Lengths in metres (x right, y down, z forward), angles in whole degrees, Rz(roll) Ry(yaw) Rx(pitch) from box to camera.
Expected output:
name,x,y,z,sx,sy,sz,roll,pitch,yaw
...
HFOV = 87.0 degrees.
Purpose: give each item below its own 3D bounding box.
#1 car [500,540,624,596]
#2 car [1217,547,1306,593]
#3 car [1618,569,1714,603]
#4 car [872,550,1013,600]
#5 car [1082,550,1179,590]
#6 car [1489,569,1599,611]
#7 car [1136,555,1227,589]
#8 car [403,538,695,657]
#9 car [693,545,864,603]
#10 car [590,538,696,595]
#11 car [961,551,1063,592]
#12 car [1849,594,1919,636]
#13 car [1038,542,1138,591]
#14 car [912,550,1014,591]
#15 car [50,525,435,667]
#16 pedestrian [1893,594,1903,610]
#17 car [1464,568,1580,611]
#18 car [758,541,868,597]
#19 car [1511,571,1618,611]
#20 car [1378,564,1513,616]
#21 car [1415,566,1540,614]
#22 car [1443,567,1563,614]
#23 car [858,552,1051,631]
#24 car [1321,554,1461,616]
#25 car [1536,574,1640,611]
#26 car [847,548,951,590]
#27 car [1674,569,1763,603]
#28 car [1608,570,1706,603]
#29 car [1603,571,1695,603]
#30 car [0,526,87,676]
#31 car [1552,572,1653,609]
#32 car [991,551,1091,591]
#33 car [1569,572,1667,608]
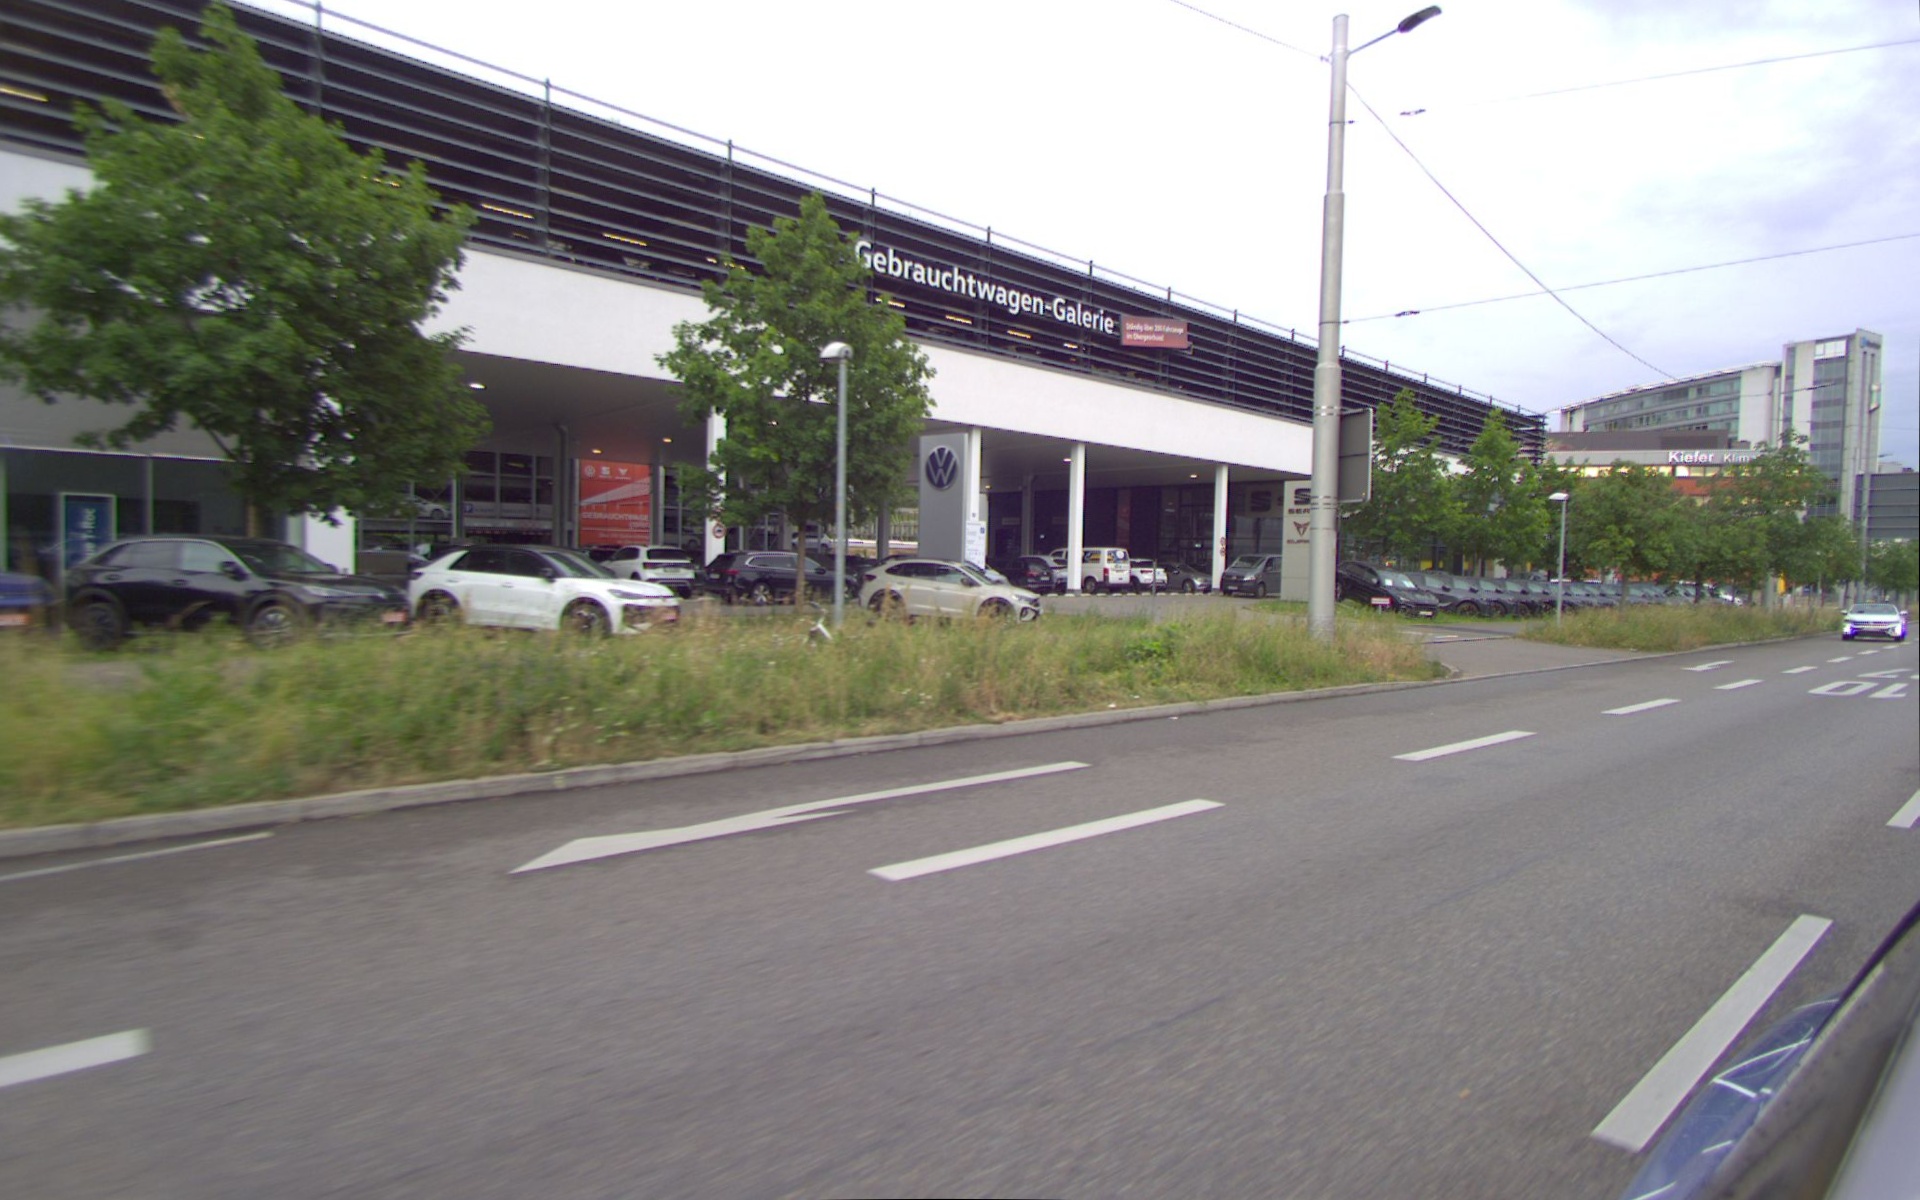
name,x,y,z,sx,sy,sz,roll,pitch,yaw
car,-11.460,-0.942,29.064,3.812,1.469,1.709,4,3,40
car,13.797,-1.341,46.184,4.355,1.962,1.889,0,2,-43
car,41.468,-0.830,59.506,4.477,1.683,1.797,5,4,37
car,-0.526,-0.835,33.761,4.617,1.485,1.897,-1,5,-43
car,7.655,-1.367,45.634,1.872,1.652,3.994,0,3,-42
car,26.157,-0.477,45.485,4.116,1.588,1.891,4,3,29
car,10.720,-1.378,49.230,1.695,1.532,4.037,0,3,-43
car,-6.528,-0.115,16.206,4.037,1.587,1.794,3,4,12
car,-5.156,-0.759,29.157,4.615,1.485,1.783,-1,5,-43
car,-9.651,-1.037,30.665,1.610,1.607,3.823,0,3,-42
car,2.036,-1.154,40.532,1.734,1.462,3.994,0,3,-42
car,36.768,0.560,40.026,3.769,1.512,1.877,0,2,-41
car,5.542,-1.488,44.267,1.911,2.000,4.034,0,3,-42
car,0.076,-1.152,39.455,1.734,1.442,3.994,0,3,-42
car,-9.485,-0.126,13.542,4.120,1.587,1.796,3,4,8
pedestrian,114.565,0.225,123.630,0.675,1.925,0.672,0,0,27
car,24.073,-0.486,43.559,4.109,1.588,1.812,4,3,24
car,-4.946,-0.985,33.648,1.857,1.750,3.996,0,0,-39
car,28.169,-0.464,47.290,4.117,1.546,1.813,4,3,29
car,18.089,-0.403,37.944,4.282,1.632,1.858,4,3,20
car,20.205,-0.416,39.701,4.106,1.580,1.856,4,3,23
car,22.149,-0.440,41.494,4.109,1.624,1.812,4,3,24
car,-0.097,-0.245,22.940,4.043,1.483,1.740,3,4,16
car,15.038,-0.589,35.644,1.786,1.899,4.735,2,3,-18
car,30.375,-0.410,49.115,4.117,1.476,1.776,4,3,29
car,-2.320,-1.169,37.654,1.734,1.442,3.994,0,3,-42
car,51.218,-0.958,68.441,4.465,2.015,1.802,5,3,31
car,39.697,-0.785,57.686,4.477,1.588,1.797,5,4,37
car,38.092,-0.749,55.979,4.036,1.519,1.664,5,4,37
car,-12.395,-0.078,11.451,4.129,1.587,1.792,3,4,14
car,32.265,-0.505,50.961,4.117,1.552,1.776,4,3,29
car,3.391,-1.245,42.681,1.872,1.555,3.994,0,3,-42
car,34.130,-0.545,52.614,4.023,1.595,1.716,4,3,29
